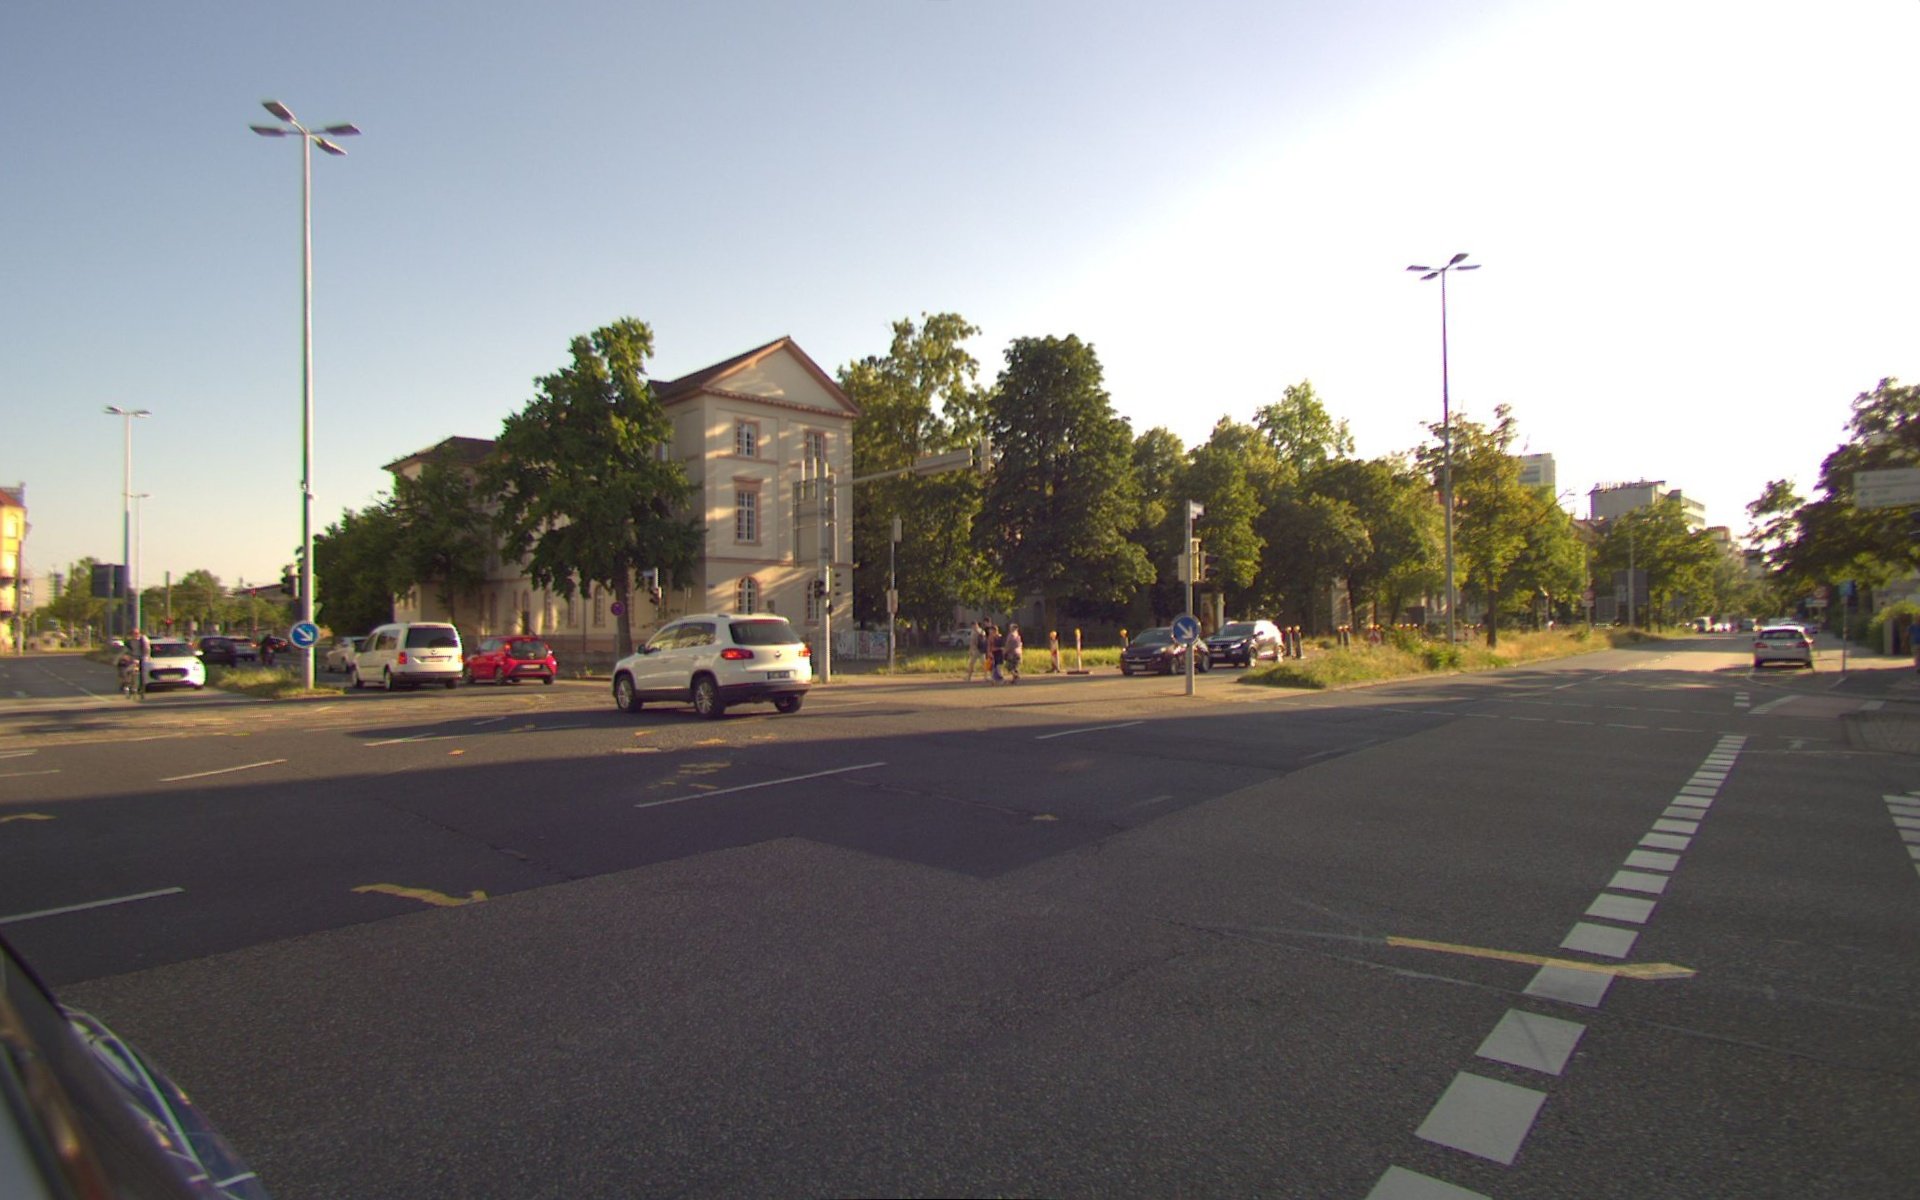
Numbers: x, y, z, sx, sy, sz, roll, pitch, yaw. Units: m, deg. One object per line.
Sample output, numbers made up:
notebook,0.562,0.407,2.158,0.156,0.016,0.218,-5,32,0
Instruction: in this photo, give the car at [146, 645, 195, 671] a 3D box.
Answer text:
car,-47.211,3.441,60.498,4.294,1.474,1.740,-3,-3,44

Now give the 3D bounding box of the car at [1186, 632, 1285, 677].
car,9.818,1.907,35.943,1.999,1.457,3.596,-3,-3,42

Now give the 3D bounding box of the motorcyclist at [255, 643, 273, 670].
motorcyclist,-37.132,3.018,54.001,0.756,1.417,0.612,-3,-3,42

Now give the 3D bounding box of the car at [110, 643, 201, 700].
car,-23.542,2.044,29.588,1.739,1.510,3.711,1,-3,-44

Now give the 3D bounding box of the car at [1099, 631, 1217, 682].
car,6.118,1.697,31.138,1.999,1.457,3.596,-3,-3,42

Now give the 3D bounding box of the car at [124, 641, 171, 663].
car,-56.631,3.622,70.519,4.294,1.474,2.020,-3,-3,44

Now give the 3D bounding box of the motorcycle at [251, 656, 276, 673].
motorcycle,-37.230,3.442,54.081,2.161,0.886,0.631,-3,-3,42

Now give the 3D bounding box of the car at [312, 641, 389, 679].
car,-25.598,2.501,42.450,4.294,1.474,1.740,-3,-3,44

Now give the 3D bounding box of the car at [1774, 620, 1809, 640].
car,63.793,2.293,77.650,1.998,1.497,3.946,-3,-3,40

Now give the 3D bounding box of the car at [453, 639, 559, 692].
car,-13.880,1.956,30.823,3.814,1.489,1.688,-3,-3,44

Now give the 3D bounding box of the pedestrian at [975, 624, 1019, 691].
pedestrian,0.934,1.436,25.513,0.888,1.663,0.613,-3,-3,37

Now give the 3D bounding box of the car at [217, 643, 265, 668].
car,-45.134,3.487,63.507,4.294,1.474,1.740,-3,-3,44

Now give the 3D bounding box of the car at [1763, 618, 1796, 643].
car,68.292,2.516,84.298,1.998,2.029,3.946,-3,-3,40

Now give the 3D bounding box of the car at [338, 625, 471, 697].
car,-15.645,1.672,28.377,4.946,1.861,1.808,-3,-3,43

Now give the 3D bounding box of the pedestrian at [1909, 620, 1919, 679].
pedestrian,29.833,1.518,31.196,0.696,1.804,0.476,-2,-3,35

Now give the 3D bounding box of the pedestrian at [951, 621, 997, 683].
pedestrian,0.400,1.474,28.645,1.083,1.721,0.670,-3,-3,37

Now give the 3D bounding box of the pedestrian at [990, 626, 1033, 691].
pedestrian,1.336,1.503,26.198,0.882,1.663,0.670,-3,-3,37

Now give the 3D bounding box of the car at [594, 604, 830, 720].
car,-4.344,1.017,17.301,4.441,1.719,1.807,-3,-3,43

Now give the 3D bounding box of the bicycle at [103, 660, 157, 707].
bicycle,-21.014,2.092,25.601,2.081,1.116,0.822,-3,-3,44

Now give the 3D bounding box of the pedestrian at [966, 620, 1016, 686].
pedestrian,0.895,1.516,29.254,1.168,1.863,0.810,-3,-3,37

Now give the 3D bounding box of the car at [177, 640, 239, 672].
car,-36.274,2.682,48.769,4.294,1.474,1.740,-3,-3,44

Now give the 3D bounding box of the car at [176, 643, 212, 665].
car,-62.223,4.374,82.206,4.294,1.648,1.740,-3,-3,44

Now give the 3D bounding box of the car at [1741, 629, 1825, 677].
car,31.732,2.000,39.143,1.994,1.741,3.956,-2,-2,32

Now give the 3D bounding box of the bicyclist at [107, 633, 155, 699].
bicyclist,-20.971,1.657,25.596,1.023,1.616,0.827,-3,-3,44
